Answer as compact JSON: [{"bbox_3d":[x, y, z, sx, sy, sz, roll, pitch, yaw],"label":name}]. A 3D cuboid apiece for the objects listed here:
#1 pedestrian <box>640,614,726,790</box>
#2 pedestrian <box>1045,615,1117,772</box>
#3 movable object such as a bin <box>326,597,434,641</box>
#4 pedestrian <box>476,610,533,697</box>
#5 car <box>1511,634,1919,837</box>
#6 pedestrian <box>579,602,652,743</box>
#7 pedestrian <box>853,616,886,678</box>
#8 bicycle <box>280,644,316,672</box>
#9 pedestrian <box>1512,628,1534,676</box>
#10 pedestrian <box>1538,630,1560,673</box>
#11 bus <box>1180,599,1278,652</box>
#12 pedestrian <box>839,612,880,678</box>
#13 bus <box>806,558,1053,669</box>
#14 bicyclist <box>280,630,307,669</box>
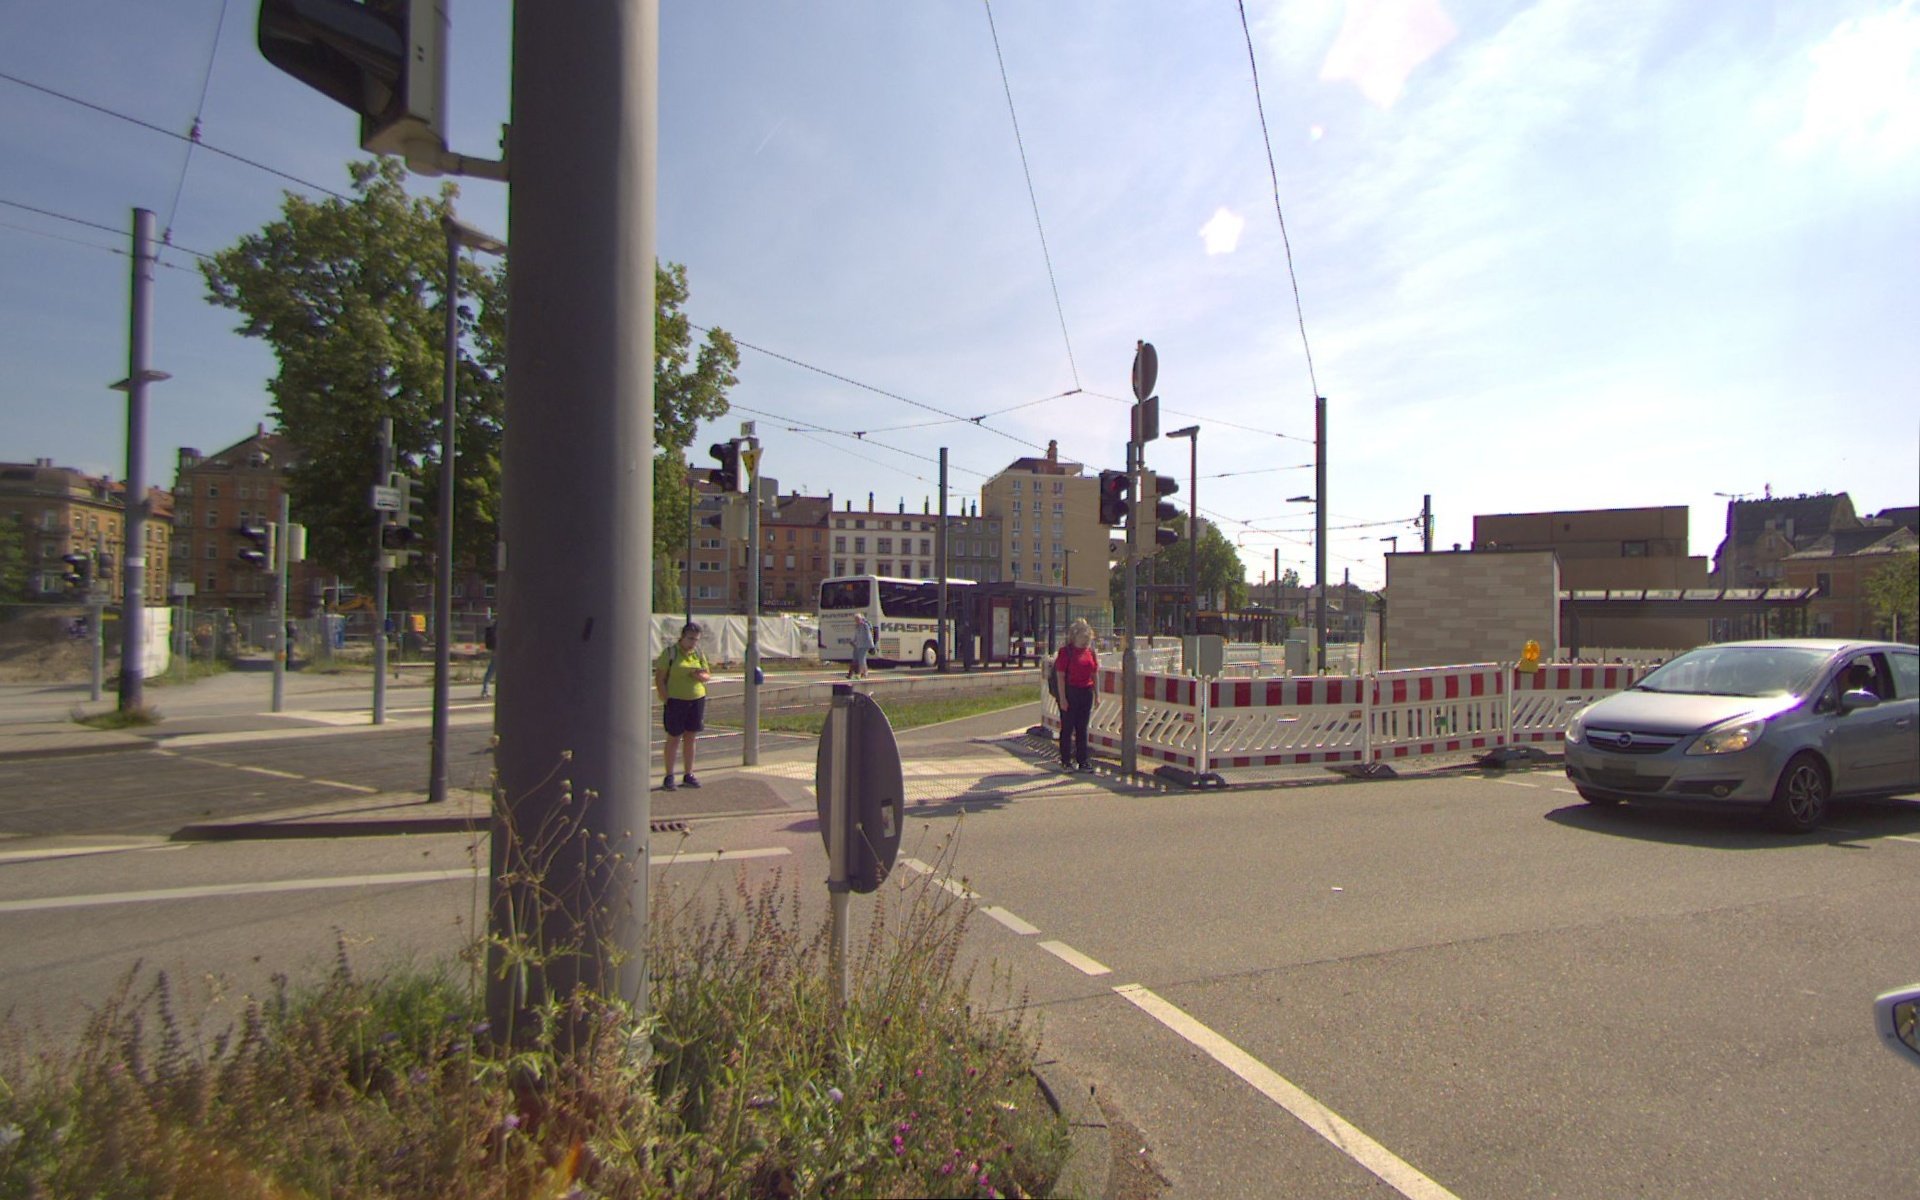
[{"bbox_3d":[-2.588,0.927,9.390,0.660,1.564,0.419,1,2,-33],"label":"pedestrian"},{"bbox_3d":[1.297,0.985,10.778,0.676,1.637,0.349,1,-2,-22],"label":"pedestrian"},{"bbox_3d":[-41.375,1.410,71.883,6.470,3.049,2.566,1,-2,-28],"label":"movable object such as a bin"},{"bbox_3d":[-9.307,1.083,20.535,0.547,1.735,0.936,0,-1,21],"label":"pedestrian"},{"bbox_3d":[6.985,1.041,8.692,3.942,1.430,1.791,1,-3,-22],"label":"car"},{"bbox_3d":[-4.590,0.948,13.425,0.827,1.836,0.648,0,-1,-12],"label":"pedestrian"},{"bbox_3d":[-2.413,1.250,26.810,0.676,1.637,0.586,0,-1,18],"label":"pedestrian"},{"bbox_3d":[-24.016,2.091,36.401,0.757,0.935,2.044,2,-3,-43],"label":"bicycle"},{"bbox_3d":[22.635,2.092,40.398,0.594,1.940,0.442,0,-2,-2],"label":"pedestrian"},{"bbox_3d":[23.882,2.076,40.720,0.558,1.731,0.540,0,-2,-2],"label":"pedestrian"},{"bbox_3d":[18.698,1.845,68.998,2.813,3.324,12.628,-1,-2,32],"label":"bus"},{"bbox_3d":[-2.555,1.136,25.550,0.781,1.637,0.660,0,-1,36],"label":"pedestrian"},{"bbox_3d":[-0.590,0.664,38.140,2.813,3.535,12.628,-1,-2,32],"label":"bus"},{"bbox_3d":[-24.332,1.801,36.655,0.615,1.378,1.158,2,-2,-43],"label":"bicyclist"}]
